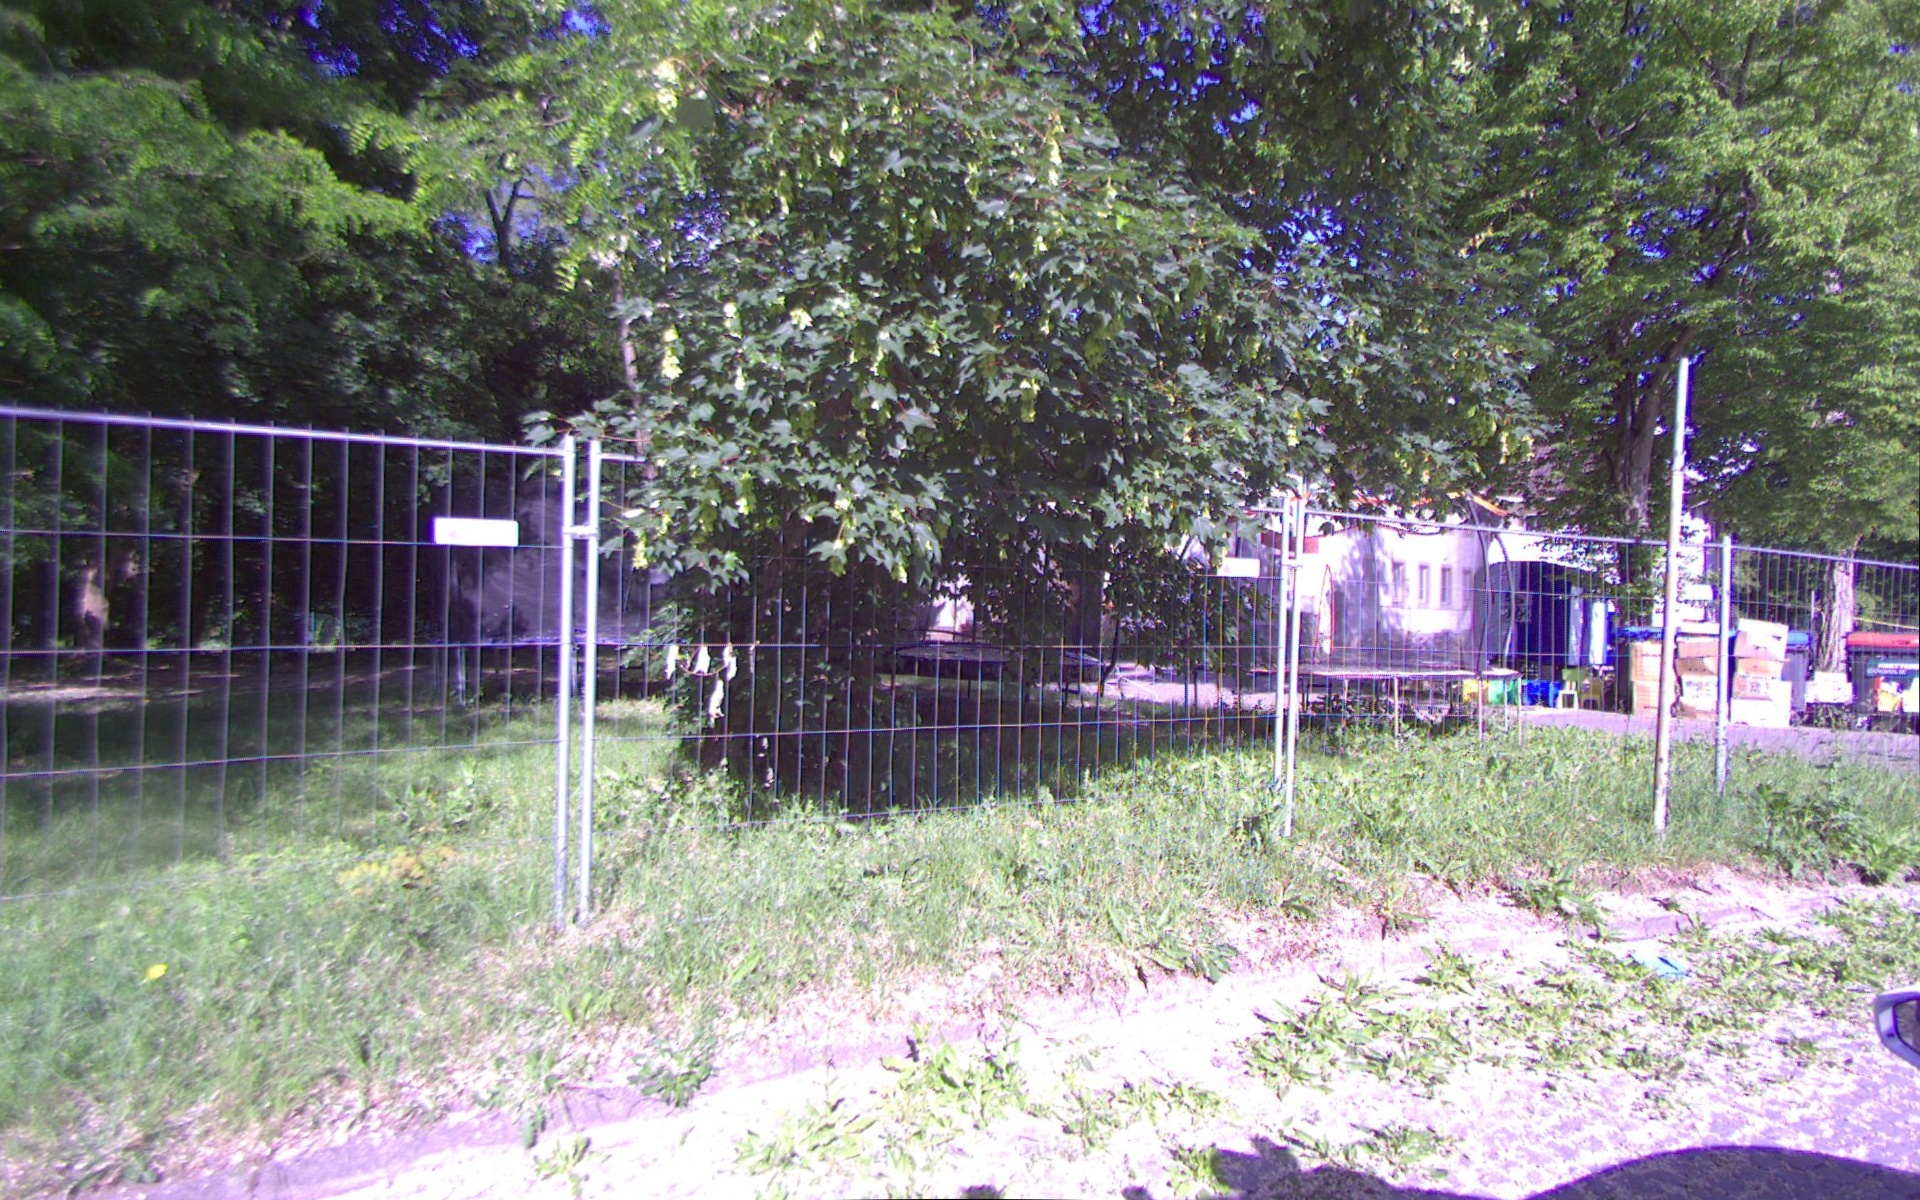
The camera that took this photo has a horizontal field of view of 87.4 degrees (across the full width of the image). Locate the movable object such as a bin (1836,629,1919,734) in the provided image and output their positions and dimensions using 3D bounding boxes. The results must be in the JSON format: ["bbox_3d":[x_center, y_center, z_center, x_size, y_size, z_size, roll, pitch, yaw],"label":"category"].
[{"bbox_3d":[13.621,1.162,14.623,1.273,1.445,1.026,0,-1,44],"label":"movable object such as a bin"}]

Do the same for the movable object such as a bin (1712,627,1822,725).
[{"bbox_3d":[12.604,1.150,15.695,1.273,1.445,1.026,0,-1,44],"label":"movable object such as a bin"}]

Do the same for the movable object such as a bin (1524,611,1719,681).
[{"bbox_3d":[20.558,1.372,31.351,4.820,1.996,1.921,0,-2,44],"label":"movable object such as a bin"}]

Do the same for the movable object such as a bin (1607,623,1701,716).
[{"bbox_3d":[11.429,1.113,16.541,1.048,1.457,1.074,2,-1,-42],"label":"movable object such as a bin"}]
